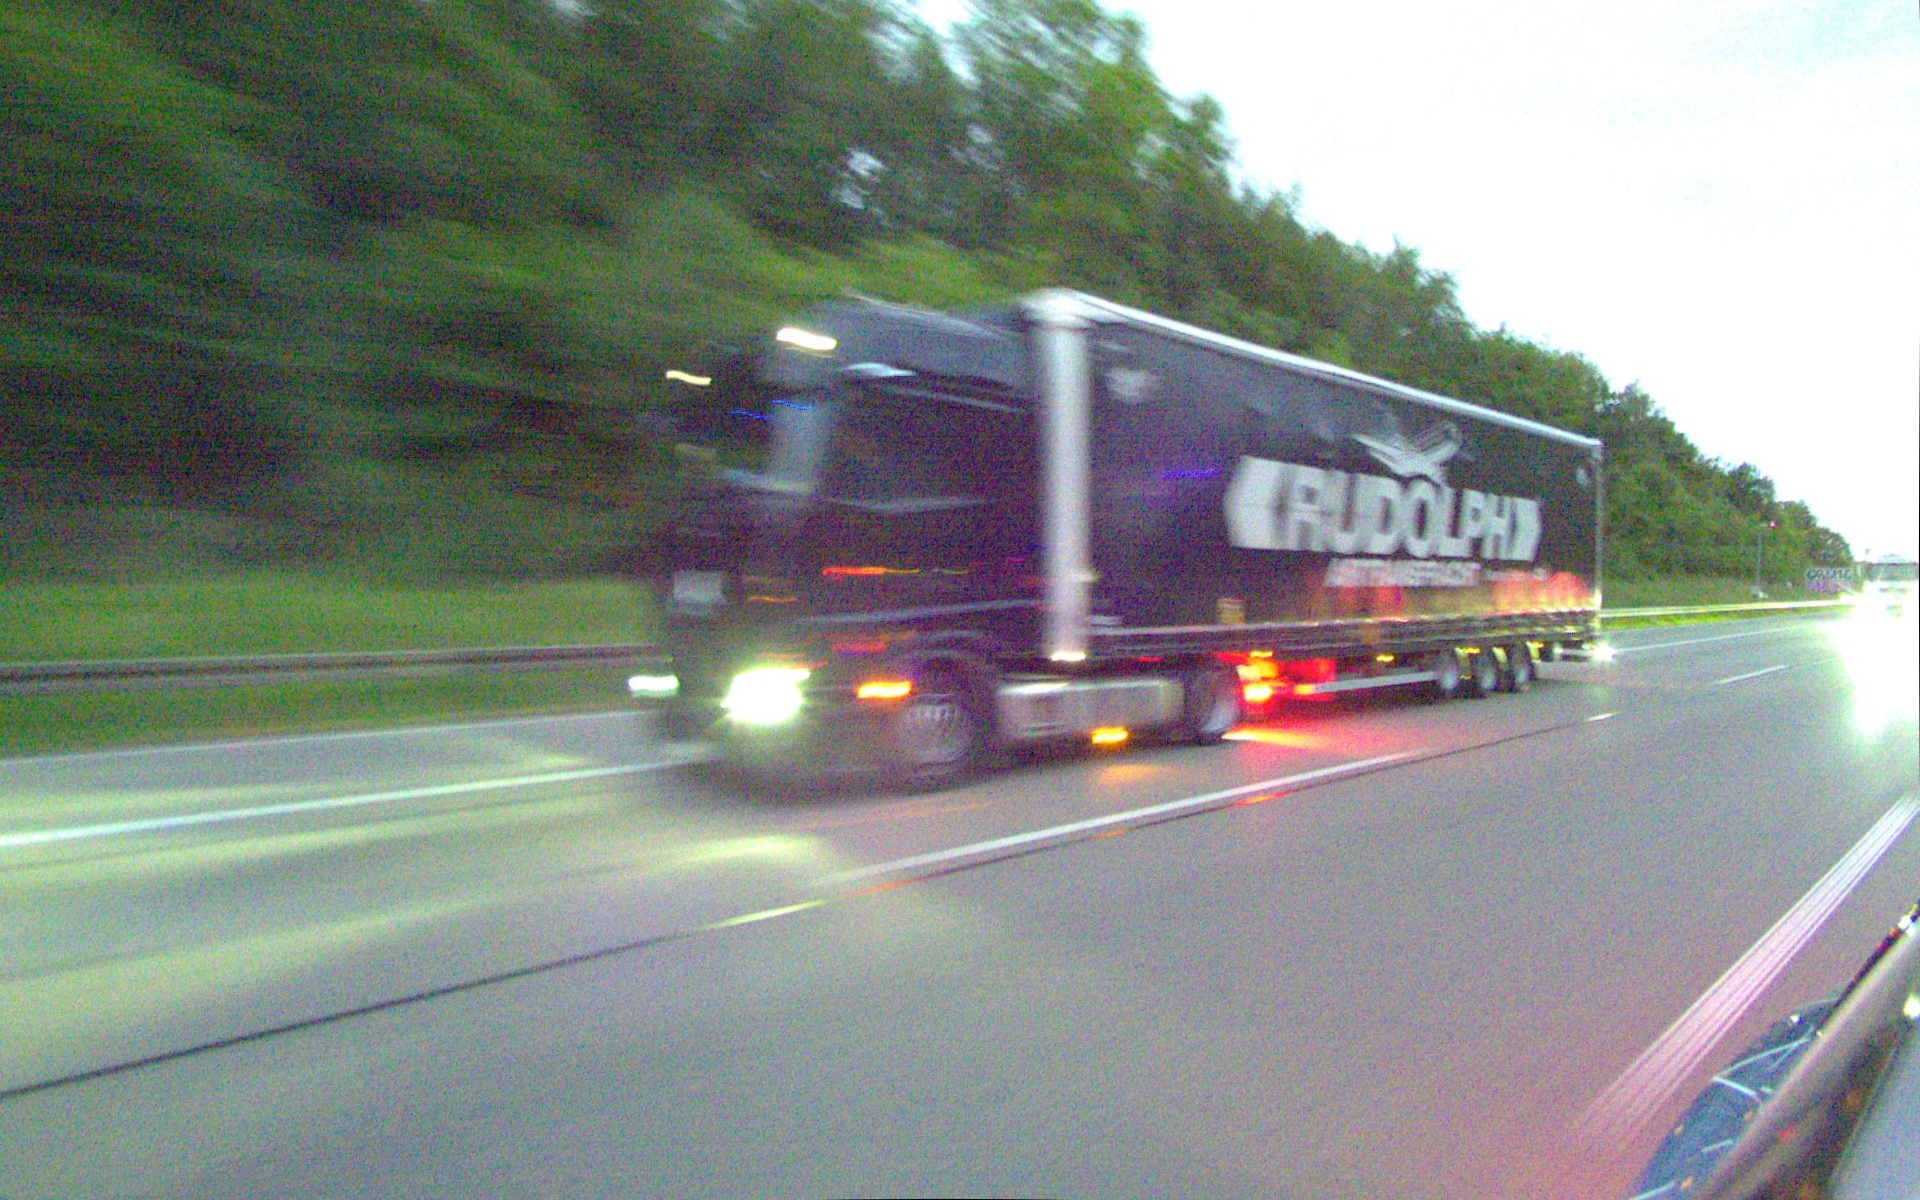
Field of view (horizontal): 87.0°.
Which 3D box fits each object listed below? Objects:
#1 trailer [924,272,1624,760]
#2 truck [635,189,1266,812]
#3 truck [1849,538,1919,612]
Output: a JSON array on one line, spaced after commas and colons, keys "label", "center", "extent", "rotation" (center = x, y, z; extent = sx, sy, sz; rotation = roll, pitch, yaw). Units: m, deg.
[{"label": "trailer", "center": [5.463, -0.755, 13.849], "extent": [13.268, 4.124, 2.487], "rotation": [0, 1, -41]}, {"label": "truck", "center": [0.177, -0.669, 9.288], "extent": [5.492, 4.018, 2.496], "rotation": [0, 0, -41]}, {"label": "truck", "center": [56.602, -1.387, 60.304], "extent": [13.293, 4.017, 3.340], "rotation": [0, 1, -39]}]
